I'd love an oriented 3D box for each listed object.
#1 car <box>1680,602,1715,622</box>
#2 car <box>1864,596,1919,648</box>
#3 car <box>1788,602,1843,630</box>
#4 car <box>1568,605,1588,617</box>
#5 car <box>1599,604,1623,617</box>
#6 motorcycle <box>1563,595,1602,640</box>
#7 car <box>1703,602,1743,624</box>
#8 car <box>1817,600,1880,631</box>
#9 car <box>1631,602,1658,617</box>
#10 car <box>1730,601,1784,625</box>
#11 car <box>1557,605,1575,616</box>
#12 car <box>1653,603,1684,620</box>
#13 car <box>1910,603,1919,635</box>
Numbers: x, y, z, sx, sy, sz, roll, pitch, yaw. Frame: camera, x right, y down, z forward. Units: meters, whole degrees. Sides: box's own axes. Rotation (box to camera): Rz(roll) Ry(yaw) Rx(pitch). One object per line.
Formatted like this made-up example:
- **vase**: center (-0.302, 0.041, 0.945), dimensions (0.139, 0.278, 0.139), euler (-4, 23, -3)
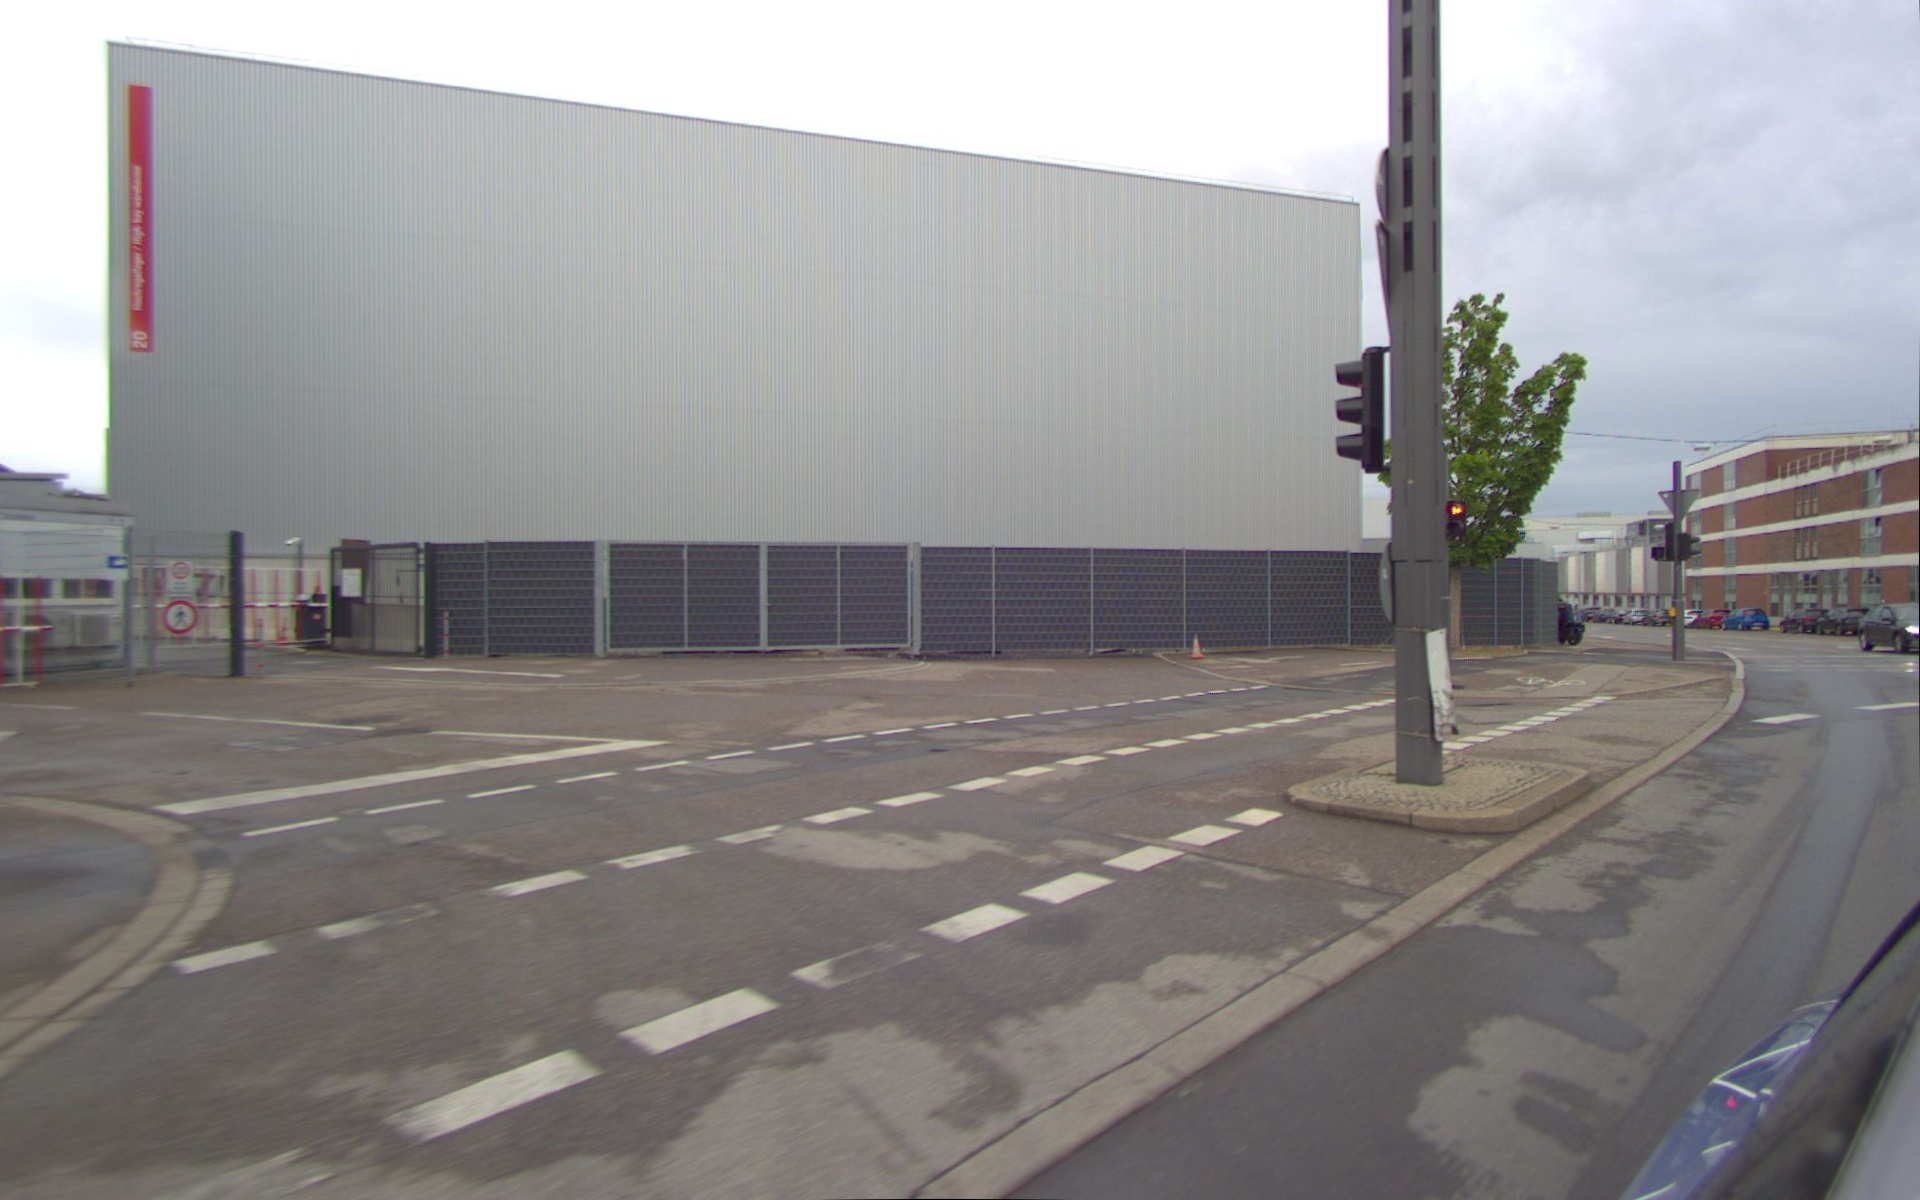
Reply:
- **car**: center (57.133, 0.916, 78.430), dimensions (1.443, 1.393, 3.361), euler (-4, -1, 24)
- **car**: center (28.449, 0.604, 29.709), dimensions (1.702, 1.444, 3.965), euler (-1, -1, 25)
- **car**: center (49.248, 0.889, 58.309), dimensions (1.443, 1.462, 3.361), euler (-4, -1, 24)
- **car**: center (71.906, 1.218, 117.759), dimensions (1.443, 1.257, 3.343), euler (-4, -1, 24)
- **car**: center (66.427, 1.066, 103.253), dimensions (1.443, 1.257, 3.343), euler (-4, -1, 24)
- **motorcycle**: center (19.353, 0.542, 31.508), dimensions (0.648, 1.327, 2.085), euler (-1, -1, 22)
- **car**: center (54.974, 0.926, 72.970), dimensions (1.443, 1.462, 3.361), euler (-4, -1, 24)
- **car**: center (47.122, 0.804, 53.752), dimensions (1.443, 1.462, 3.437), euler (-4, -1, 24)
- **car**: center (62.839, 0.867, 92.922), dimensions (1.443, 1.257, 3.343), euler (-4, -1, 24)
- **car**: center (53.399, 0.842, 67.871), dimensions (1.674, 1.462, 3.370), euler (-3, -1, 17)
- **car**: center (73.895, 1.286, 123.456), dimensions (1.443, 1.257, 3.343), euler (-4, -1, 24)
- **car**: center (60.632, 0.963, 86.660), dimensions (1.443, 1.257, 3.343), euler (-4, -1, 24)
- **car**: center (44.463, 0.841, 45.070), dimensions (1.548, 1.462, 4.079), euler (-3, -1, 20)
